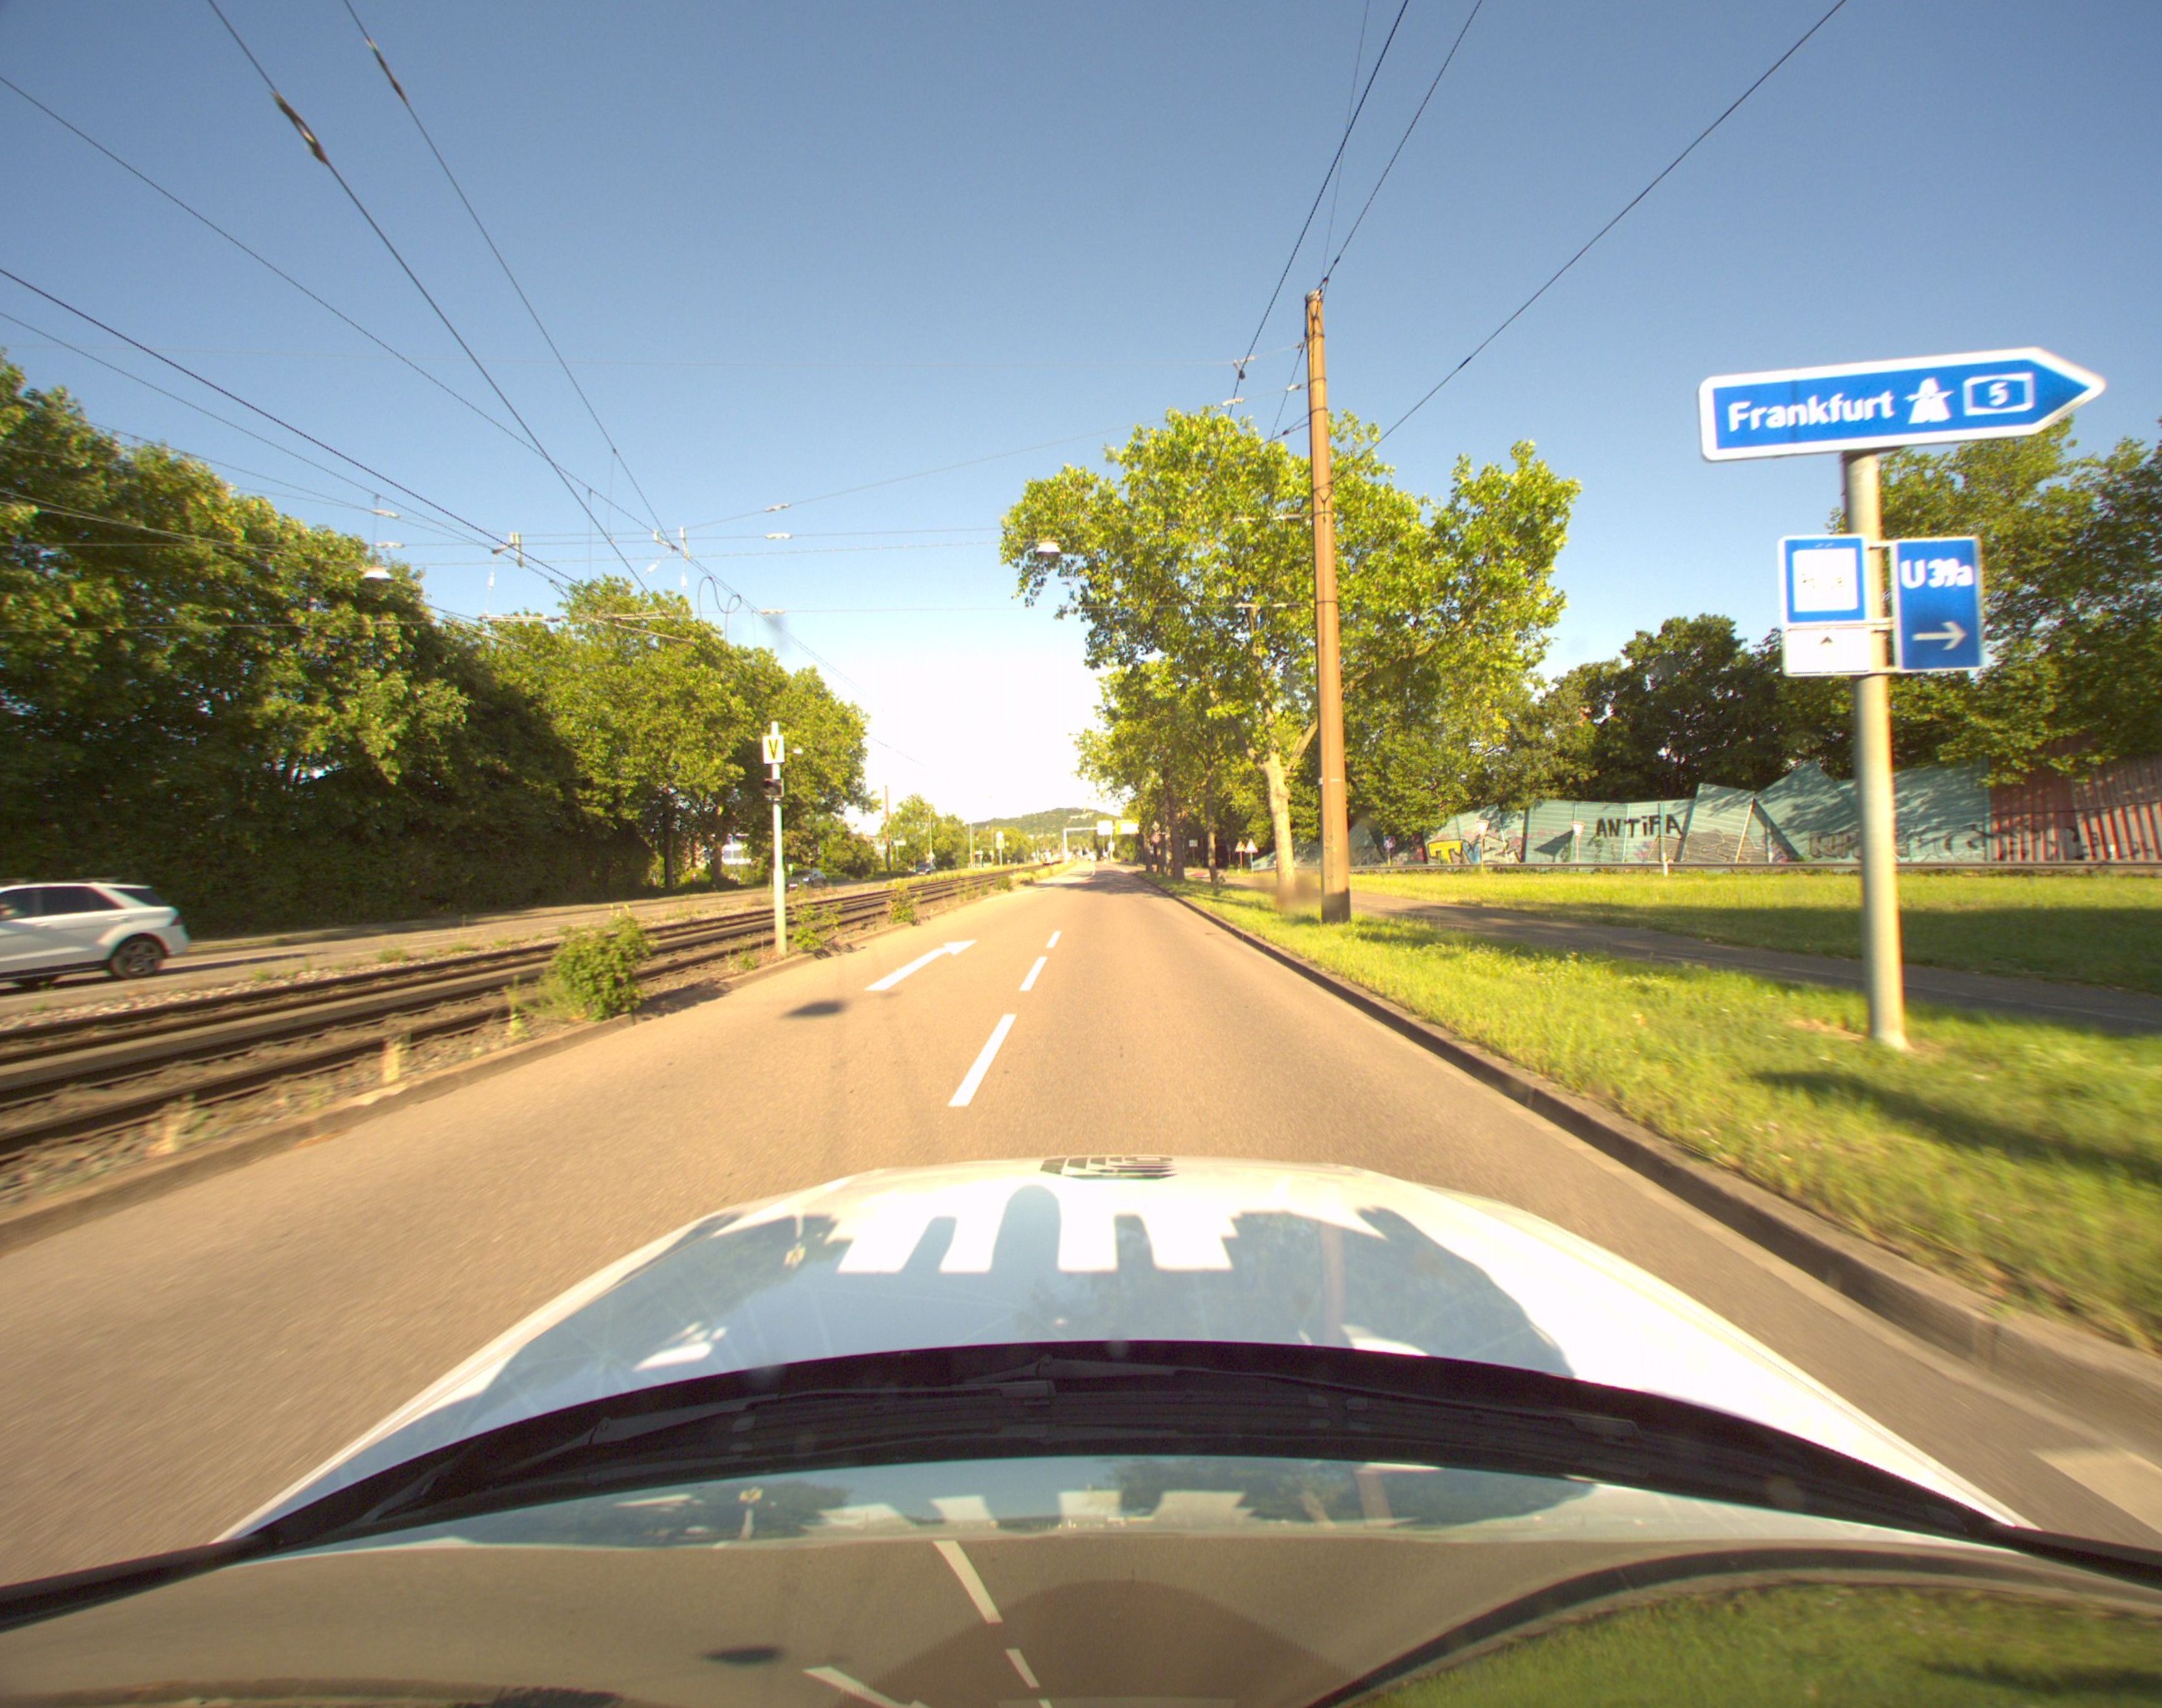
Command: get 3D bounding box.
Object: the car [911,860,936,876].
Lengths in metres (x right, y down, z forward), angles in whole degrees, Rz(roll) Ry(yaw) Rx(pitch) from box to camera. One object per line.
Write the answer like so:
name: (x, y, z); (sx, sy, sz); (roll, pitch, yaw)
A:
car: (-18.144, 1.548, 93.840); (1.893, 1.694, 4.938); (-4, 0, -1)

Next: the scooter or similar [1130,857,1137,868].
scooter or similar: (13.549, 2.134, 209.975); (1.675, 2.716, 4.869); (-1, 0, 1)

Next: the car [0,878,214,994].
car: (-17.375, 1.333, 12.907); (1.957, 1.707, 4.941); (-4, -1, -1)

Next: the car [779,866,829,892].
car: (-17.968, 1.577, 52.985); (1.706, 1.468, 4.346); (-4, 0, -1)

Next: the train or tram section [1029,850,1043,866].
train or tram section: (-11.302, 0.931, 207.080); (2.795, 3.903, 12.330); (-1, -1, 0)
